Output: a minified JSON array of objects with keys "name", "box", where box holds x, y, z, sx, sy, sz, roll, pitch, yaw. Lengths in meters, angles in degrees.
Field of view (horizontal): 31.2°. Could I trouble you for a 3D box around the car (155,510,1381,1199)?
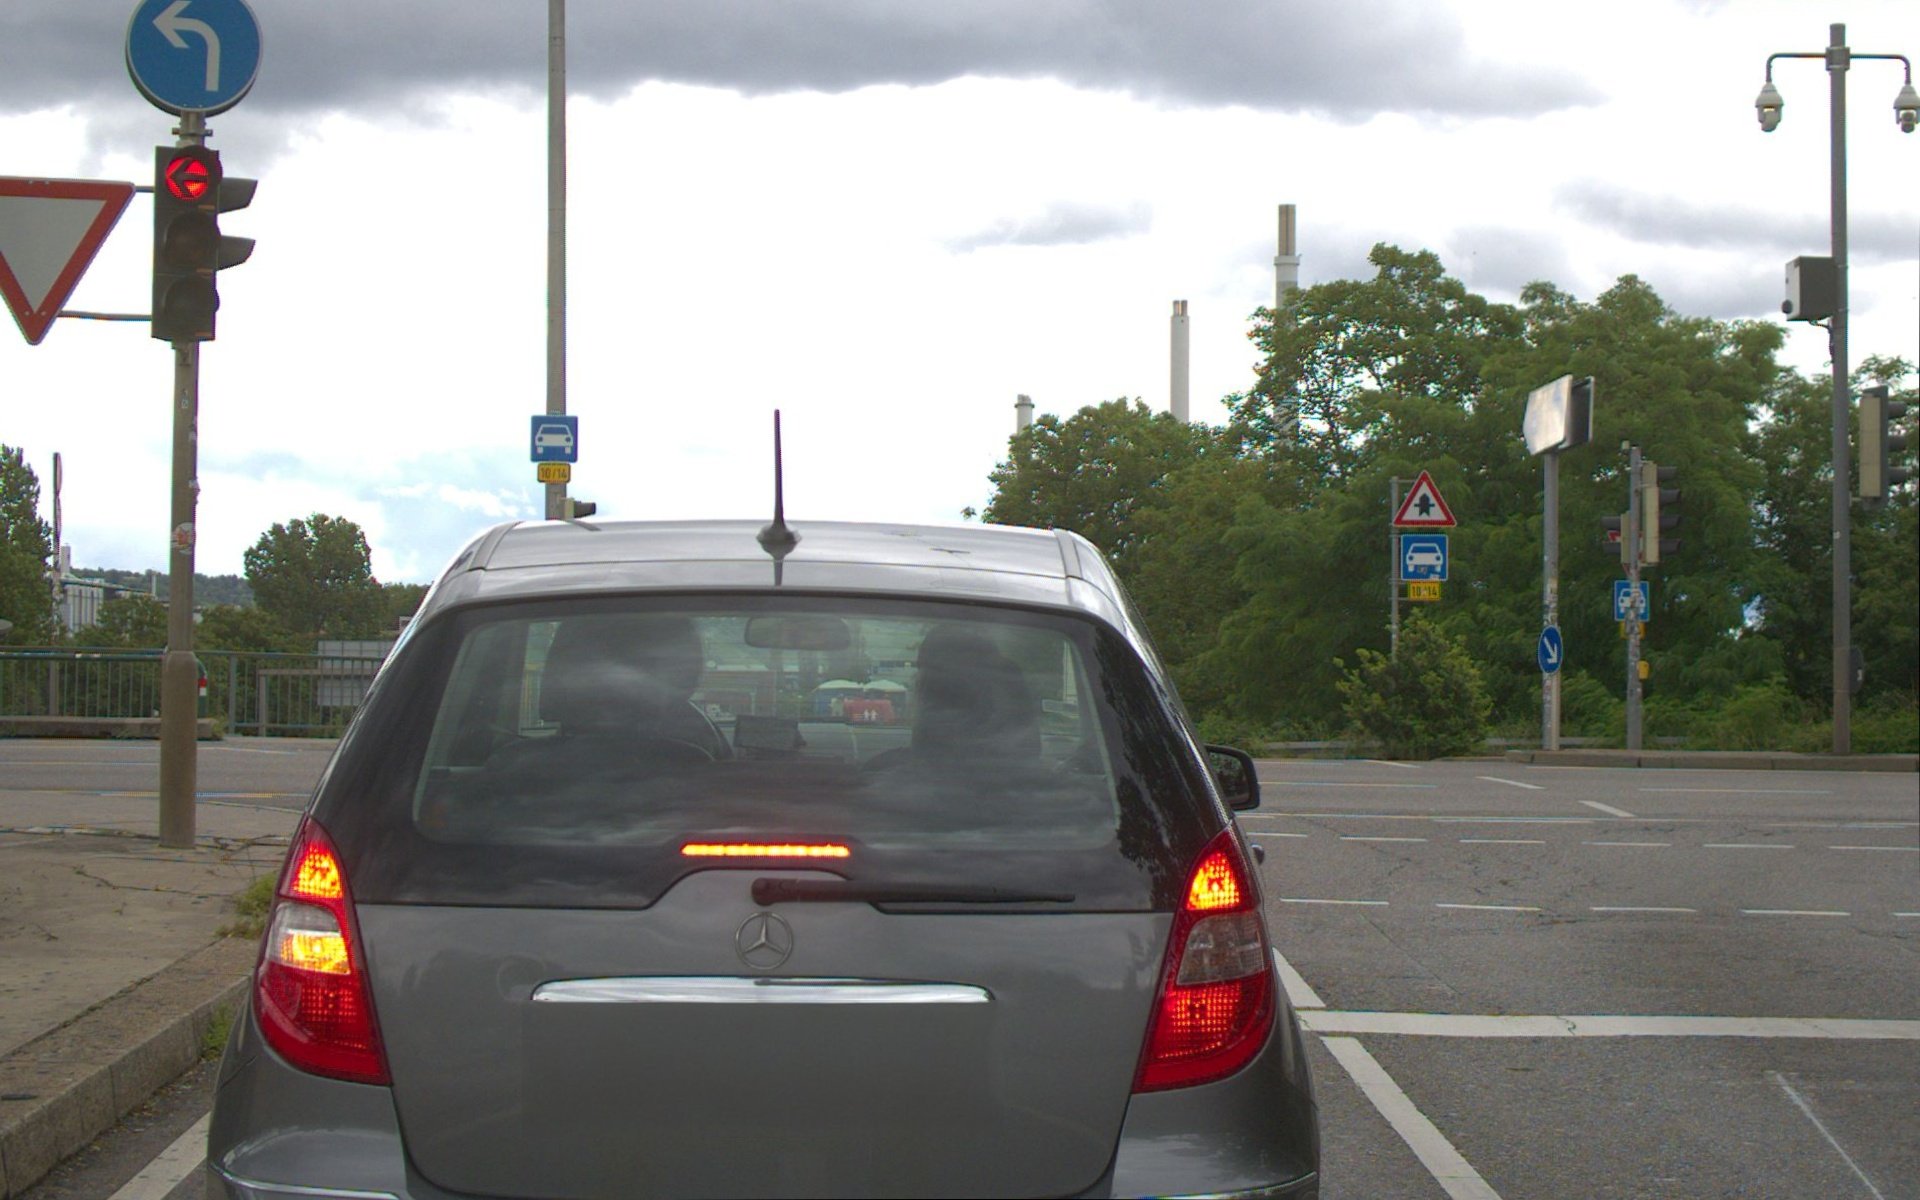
[{"name":"car","box":[-0.292,0.634,6.683,1.739,1.538,3.541,1,1,0]}]
